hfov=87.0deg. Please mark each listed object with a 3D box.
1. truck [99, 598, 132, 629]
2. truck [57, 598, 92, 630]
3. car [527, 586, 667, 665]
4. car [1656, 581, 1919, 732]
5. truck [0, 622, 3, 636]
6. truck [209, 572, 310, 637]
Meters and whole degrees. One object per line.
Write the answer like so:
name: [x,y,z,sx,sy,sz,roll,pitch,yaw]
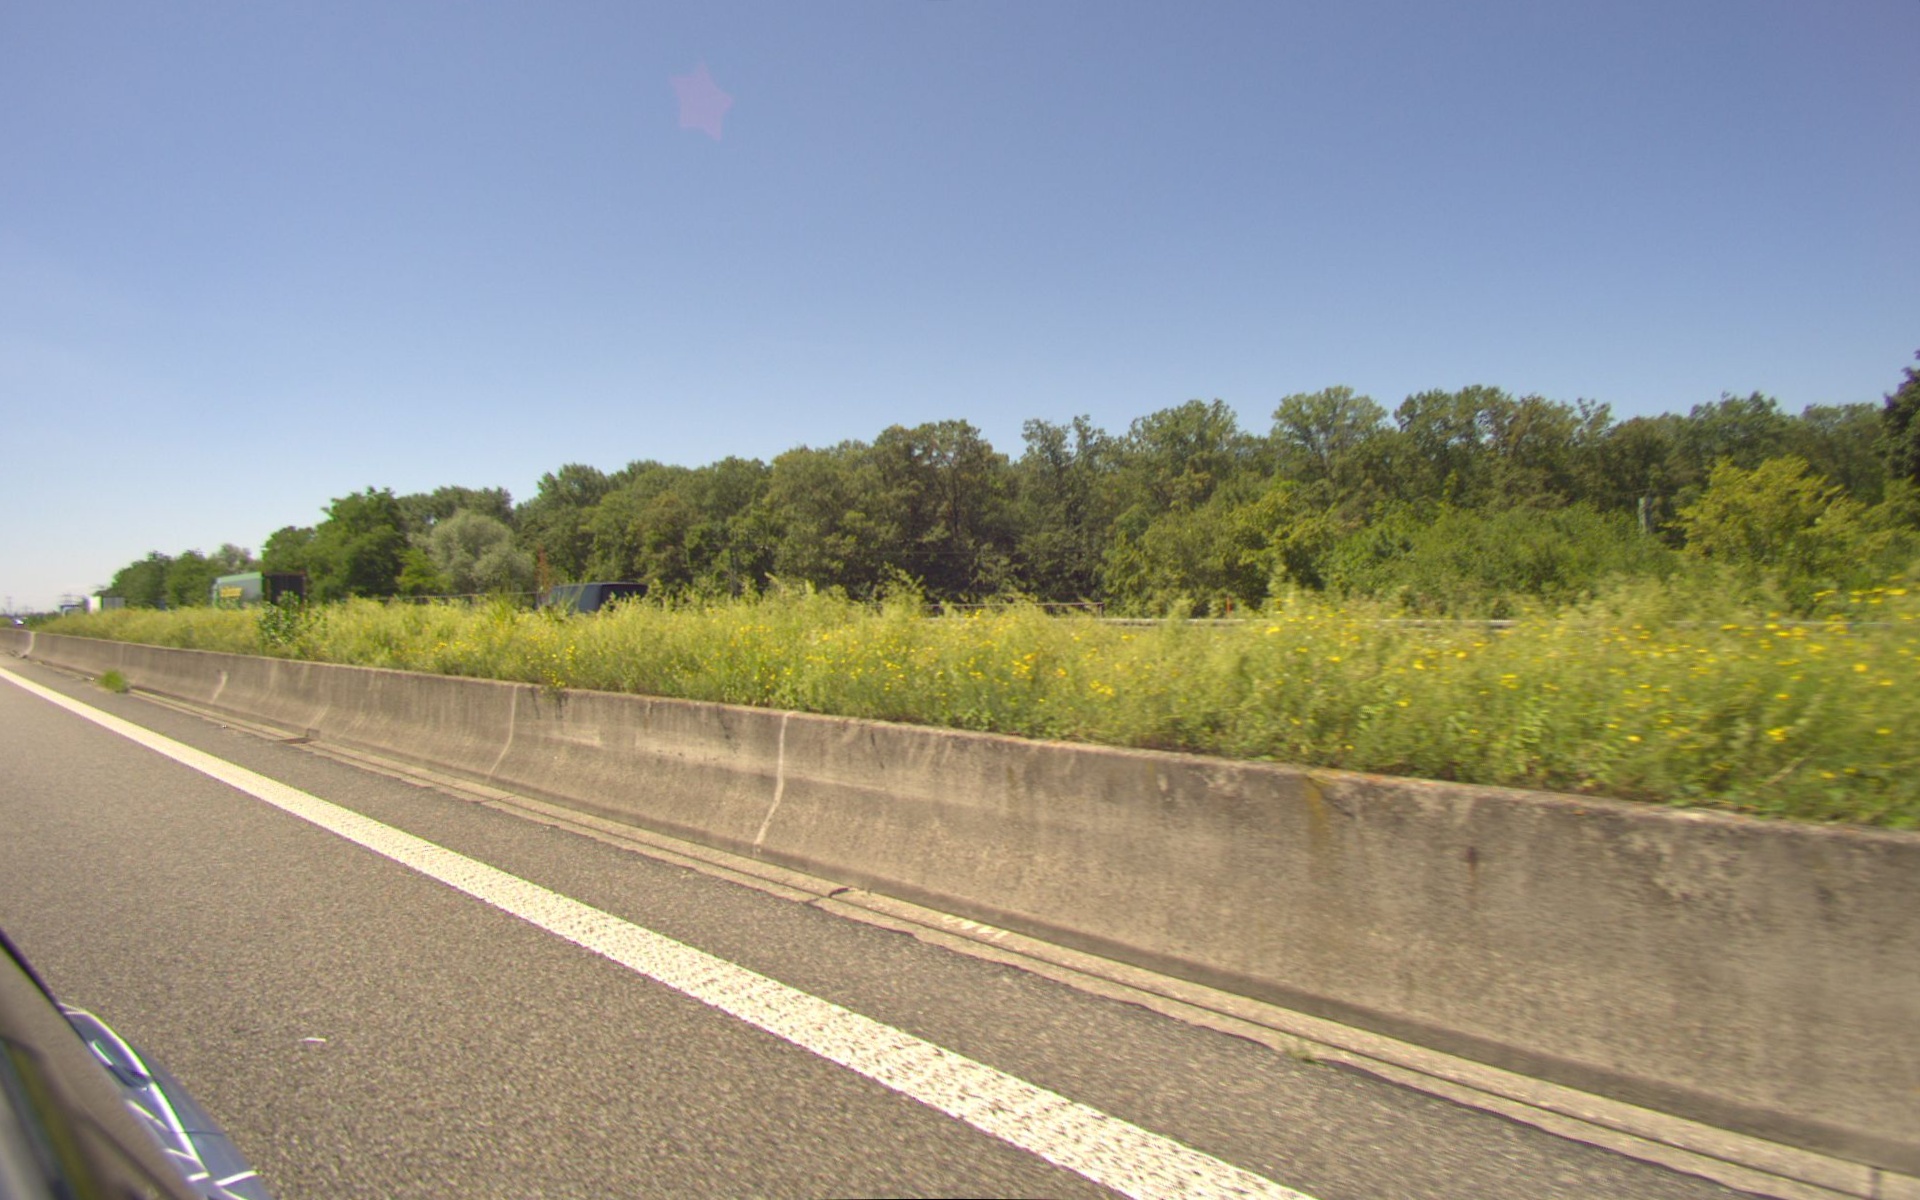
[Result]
truck: [-109.641,1.771,131.353,9.034,3.893,2.333,-1,-1,44]
truck: [-113.258,1.819,129.377,9.034,3.893,2.626,-1,-1,44]
car: [-10.144,0.686,28.158,3.998,2.029,1.973,-1,-1,41]
car: [9.281,0.509,9.840,3.997,1.366,1.650,-1,0,41]
truck: [-85.460,2.544,88.993,3.997,1.188,1.459,-1,-1,41]
truck: [-50.415,0.408,72.576,14.498,4.262,3.142,-1,-1,44]
